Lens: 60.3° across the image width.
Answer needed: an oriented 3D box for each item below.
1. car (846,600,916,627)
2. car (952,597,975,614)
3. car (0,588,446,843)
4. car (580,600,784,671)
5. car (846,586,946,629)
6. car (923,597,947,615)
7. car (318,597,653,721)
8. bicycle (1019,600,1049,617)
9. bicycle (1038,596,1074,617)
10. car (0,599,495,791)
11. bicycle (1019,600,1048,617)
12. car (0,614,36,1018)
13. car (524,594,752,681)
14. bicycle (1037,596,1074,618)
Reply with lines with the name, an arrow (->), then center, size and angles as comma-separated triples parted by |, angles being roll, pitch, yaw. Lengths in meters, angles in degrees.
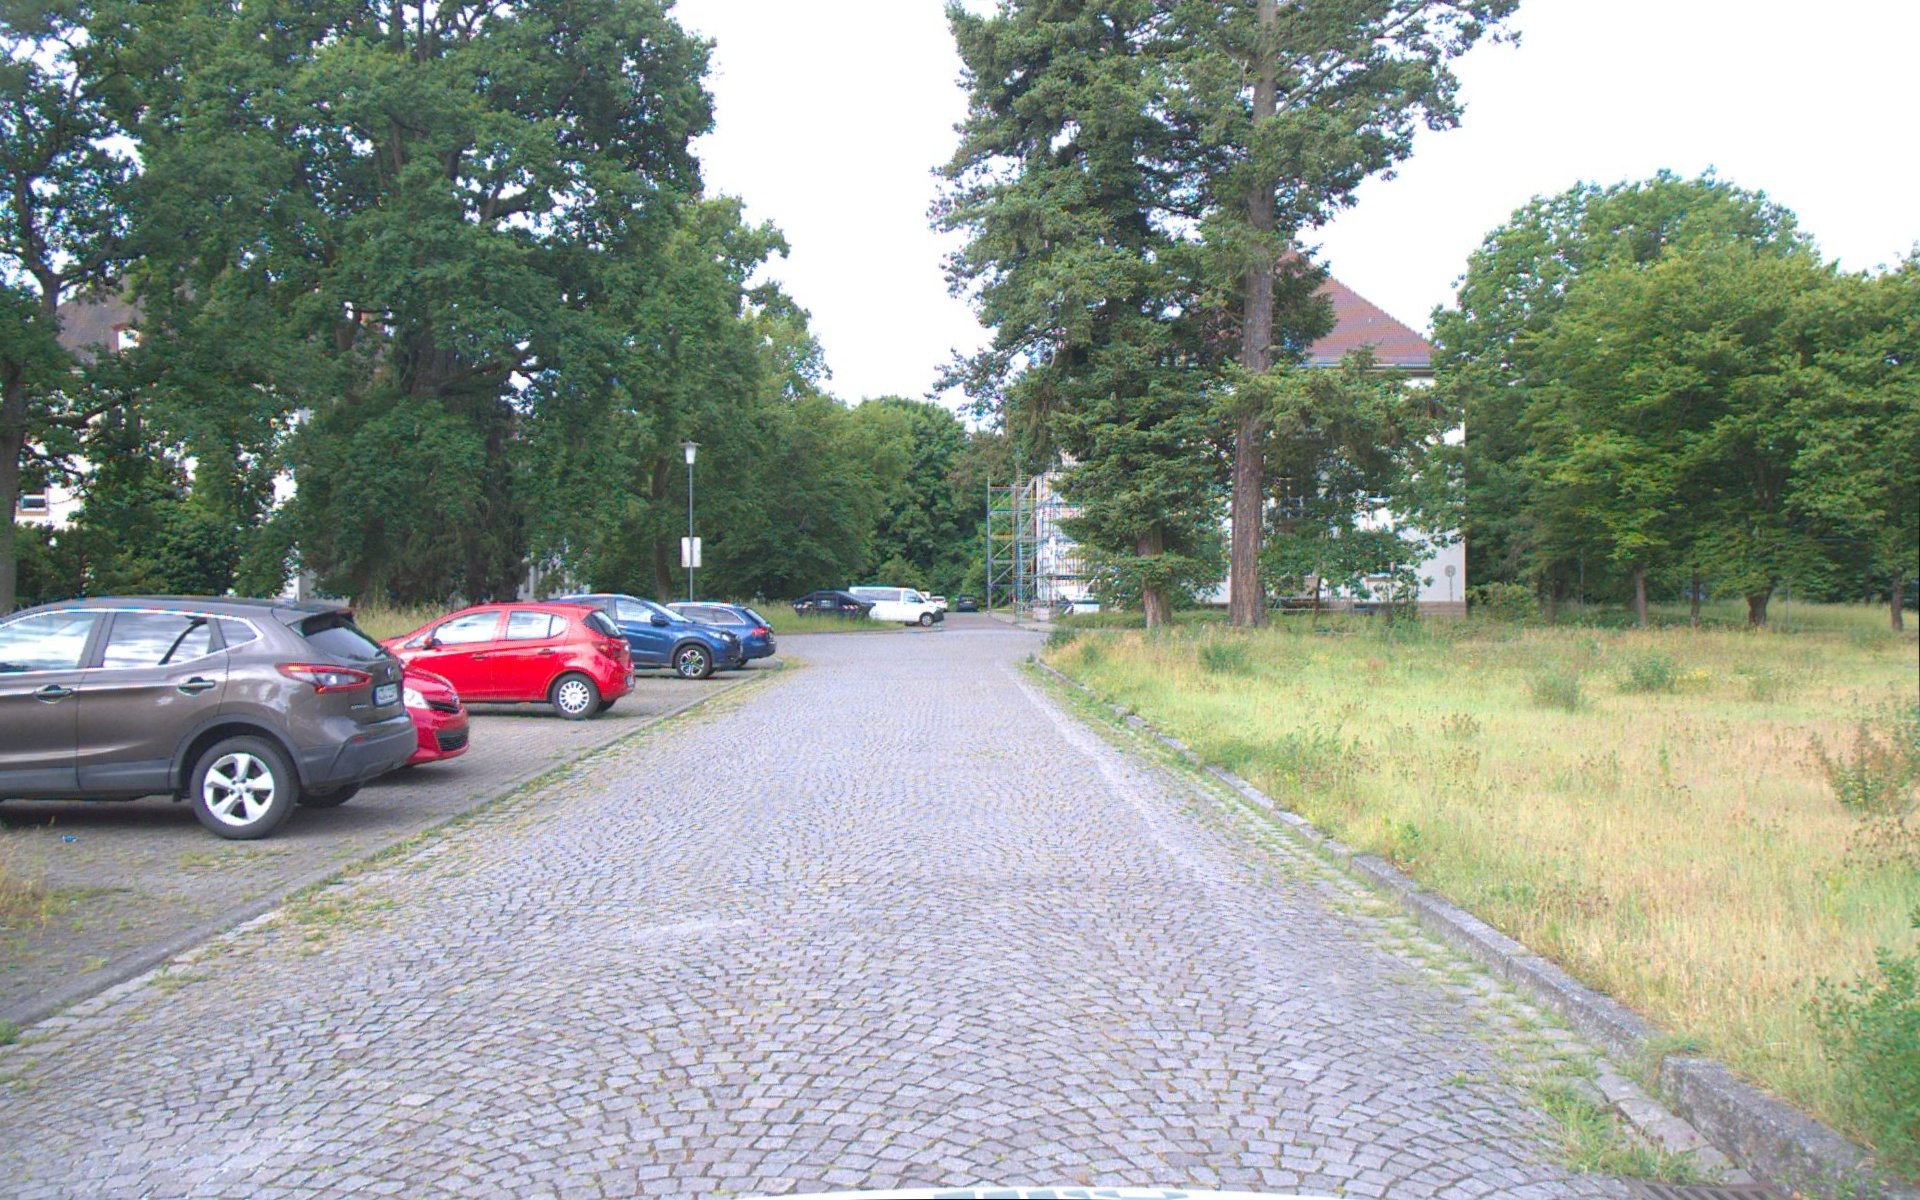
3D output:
car -> -4.256, 0.707, 88.655 | 3.714, 1.420, 1.998 | 0, 0, -4
car -> 0.324, 0.512, 152.465 | 1.912, 1.548, 3.998 | 0, 0, -3
car -> -6.021, 0.760, 11.854 | 4.083, 1.650, 1.985 | 0, 0, -4
car -> -6.193, 0.774, 37.193 | 4.214, 1.486, 1.975 | 1, 0, 0
car -> -3.365, 0.383, 86.084 | 5.131, 2.206, 1.999 | 0, 0, -4
car -> -2.294, 0.546, 152.107 | 2.076, 1.548, 3.998 | 0, 0, -2
car -> -6.269, 0.757, 22.221 | 3.974, 1.552, 1.904 | 0, 0, -3
bicycle -> 5.541, 0.614, 124.217 | 2.194, 1.276, 0.698 | 0, 0, 1
bicycle -> 5.882, 0.418, 101.171 | 2.194, 1.276, 0.778 | 0, 0, 1
car -> -6.402, 0.782, 14.586 | 4.082, 1.536, 1.906 | 0, 0, -3
bicycle -> 5.531, 0.621, 125.062 | 2.194, 1.276, 0.634 | 0, 0, 1
car -> -5.678, 0.847, 5.569 | 4.083, 1.536, 1.780 | 0, 0, -4
car -> -6.243, 0.718, 32.441 | 4.143, 1.604, 1.886 | 1, 0, -3
bicycle -> 5.711, 0.405, 99.255 | 2.194, 1.276, 0.778 | 0, 0, 1
